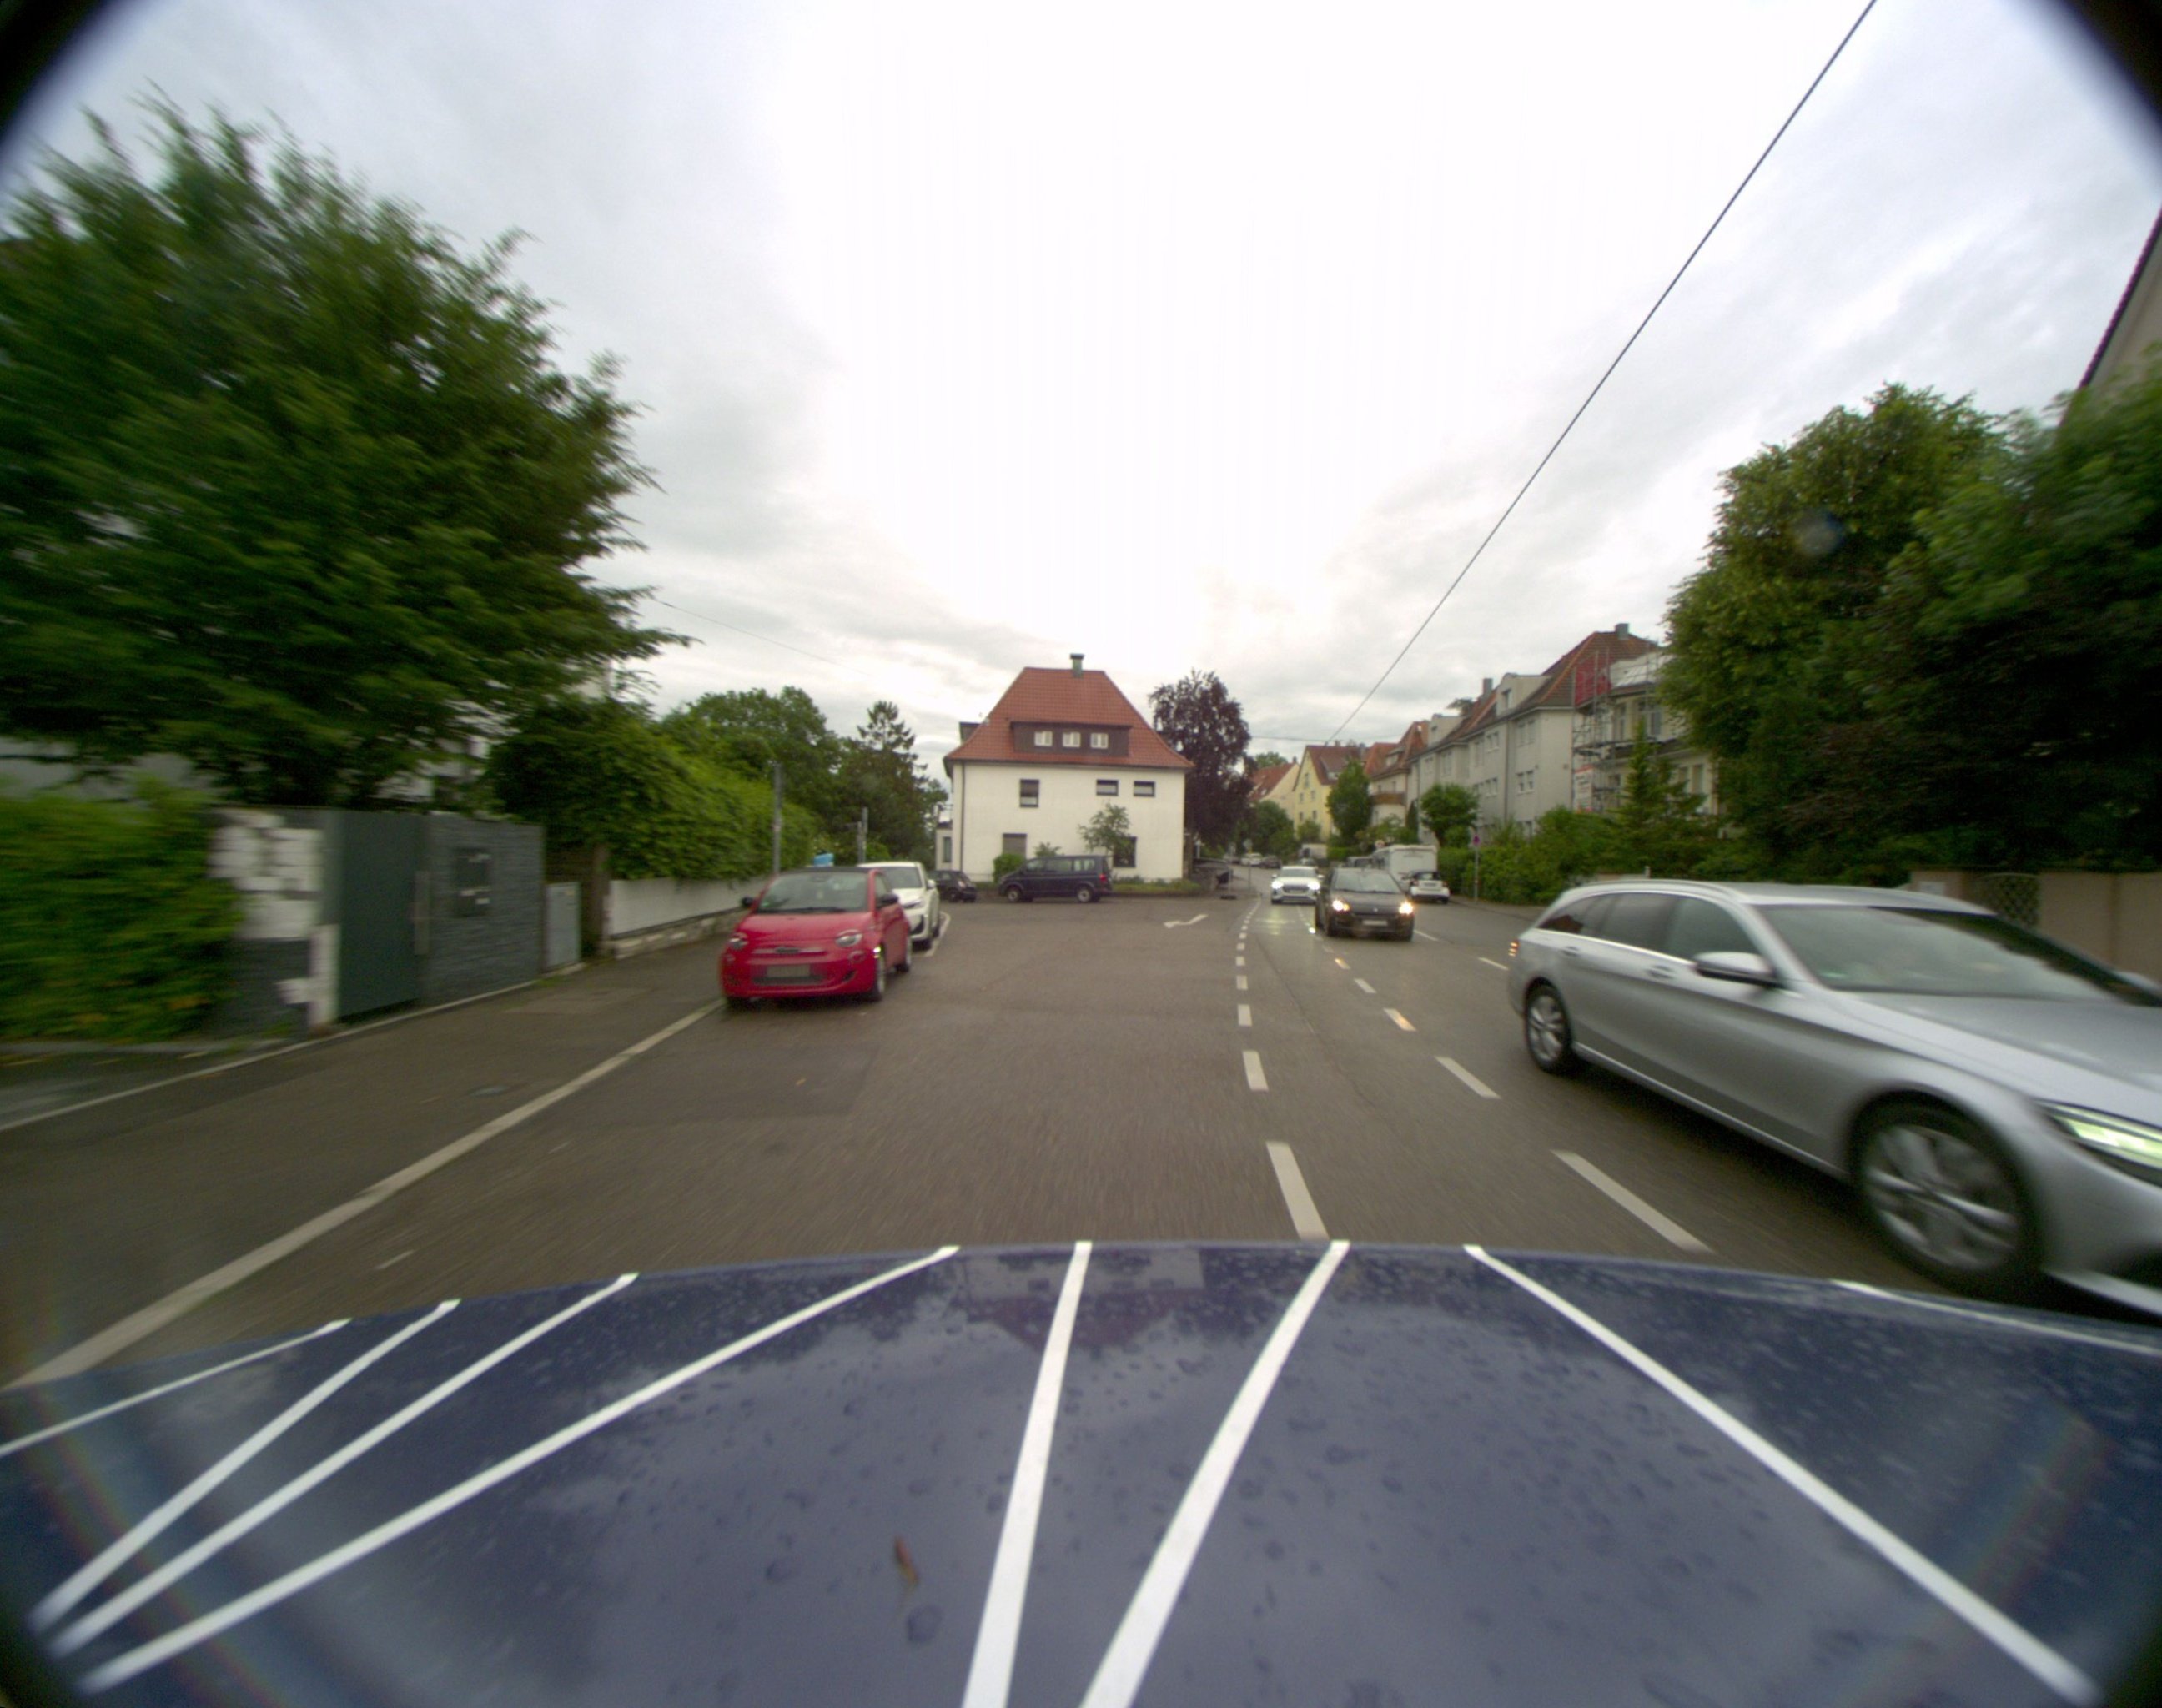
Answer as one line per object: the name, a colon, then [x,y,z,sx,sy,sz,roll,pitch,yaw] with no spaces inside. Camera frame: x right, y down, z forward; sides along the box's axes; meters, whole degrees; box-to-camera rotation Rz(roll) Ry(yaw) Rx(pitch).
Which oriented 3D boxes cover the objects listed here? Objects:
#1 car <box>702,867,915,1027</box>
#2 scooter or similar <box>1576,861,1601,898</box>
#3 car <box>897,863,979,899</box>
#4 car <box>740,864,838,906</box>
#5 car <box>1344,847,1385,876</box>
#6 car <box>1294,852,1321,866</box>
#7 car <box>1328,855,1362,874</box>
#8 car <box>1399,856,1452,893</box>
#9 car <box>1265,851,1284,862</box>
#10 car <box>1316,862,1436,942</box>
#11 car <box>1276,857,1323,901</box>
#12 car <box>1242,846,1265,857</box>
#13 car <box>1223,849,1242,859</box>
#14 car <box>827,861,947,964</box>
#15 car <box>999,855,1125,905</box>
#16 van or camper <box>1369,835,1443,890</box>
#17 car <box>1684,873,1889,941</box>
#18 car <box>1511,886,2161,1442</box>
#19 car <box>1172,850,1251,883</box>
car: [-3.123,0.962,9.430,1.616,1.528,3.539,-1,0,-5]
scooter or similar: [16.844,0.828,25.234,0.402,1.181,1.142,-1,0,18]
car: [-6.292,1.220,33.489,3.263,1.431,1.325,-2,-4,8]
car: [-13.696,1.433,35.822,4.000,1.849,1.770,-1,0,-8]
car: [20.282,0.518,54.560,1.835,1.976,4.584,-1,1,8]
car: [23.108,0.492,77.671,1.679,1.364,3.440,-1,0,0]
car: [21.626,0.847,62.388,1.678,1.364,4.512,-1,1,7]
car: [16.257,0.933,35.978,1.597,1.585,3.320,1,1,12]
car: [23.514,0.295,92.498,1.679,1.364,3.441,-1,0,4]
car: [6.221,0.935,16.418,1.896,1.455,3.685,0,1,13]
car: [9.309,0.994,32.231,1.793,1.689,3.895,-1,0,17]
car: [22.992,-0.283,101.272,1.680,1.364,4.435,2,0,-5]
car: [22.192,0.001,111.474,1.680,1.364,4.435,-1,0,-5]
car: [-3.641,0.998,15.024,1.750,1.662,4.644,-1,0,-8]
car: [-0.782,1.039,32.061,4.913,1.936,1.943,1,1,15]
van or camper: [17.472,0.395,41.186,2.351,2.709,6.121,1,1,11]
car: [18.593,1.364,20.199,3.585,1.531,1.712,2,-1,15]
car: [4.279,0.980,3.888,1.997,1.470,4.489,1,-1,6]
car: [8.316,0.776,48.439,4.737,1.799,1.944,4,1,12]
